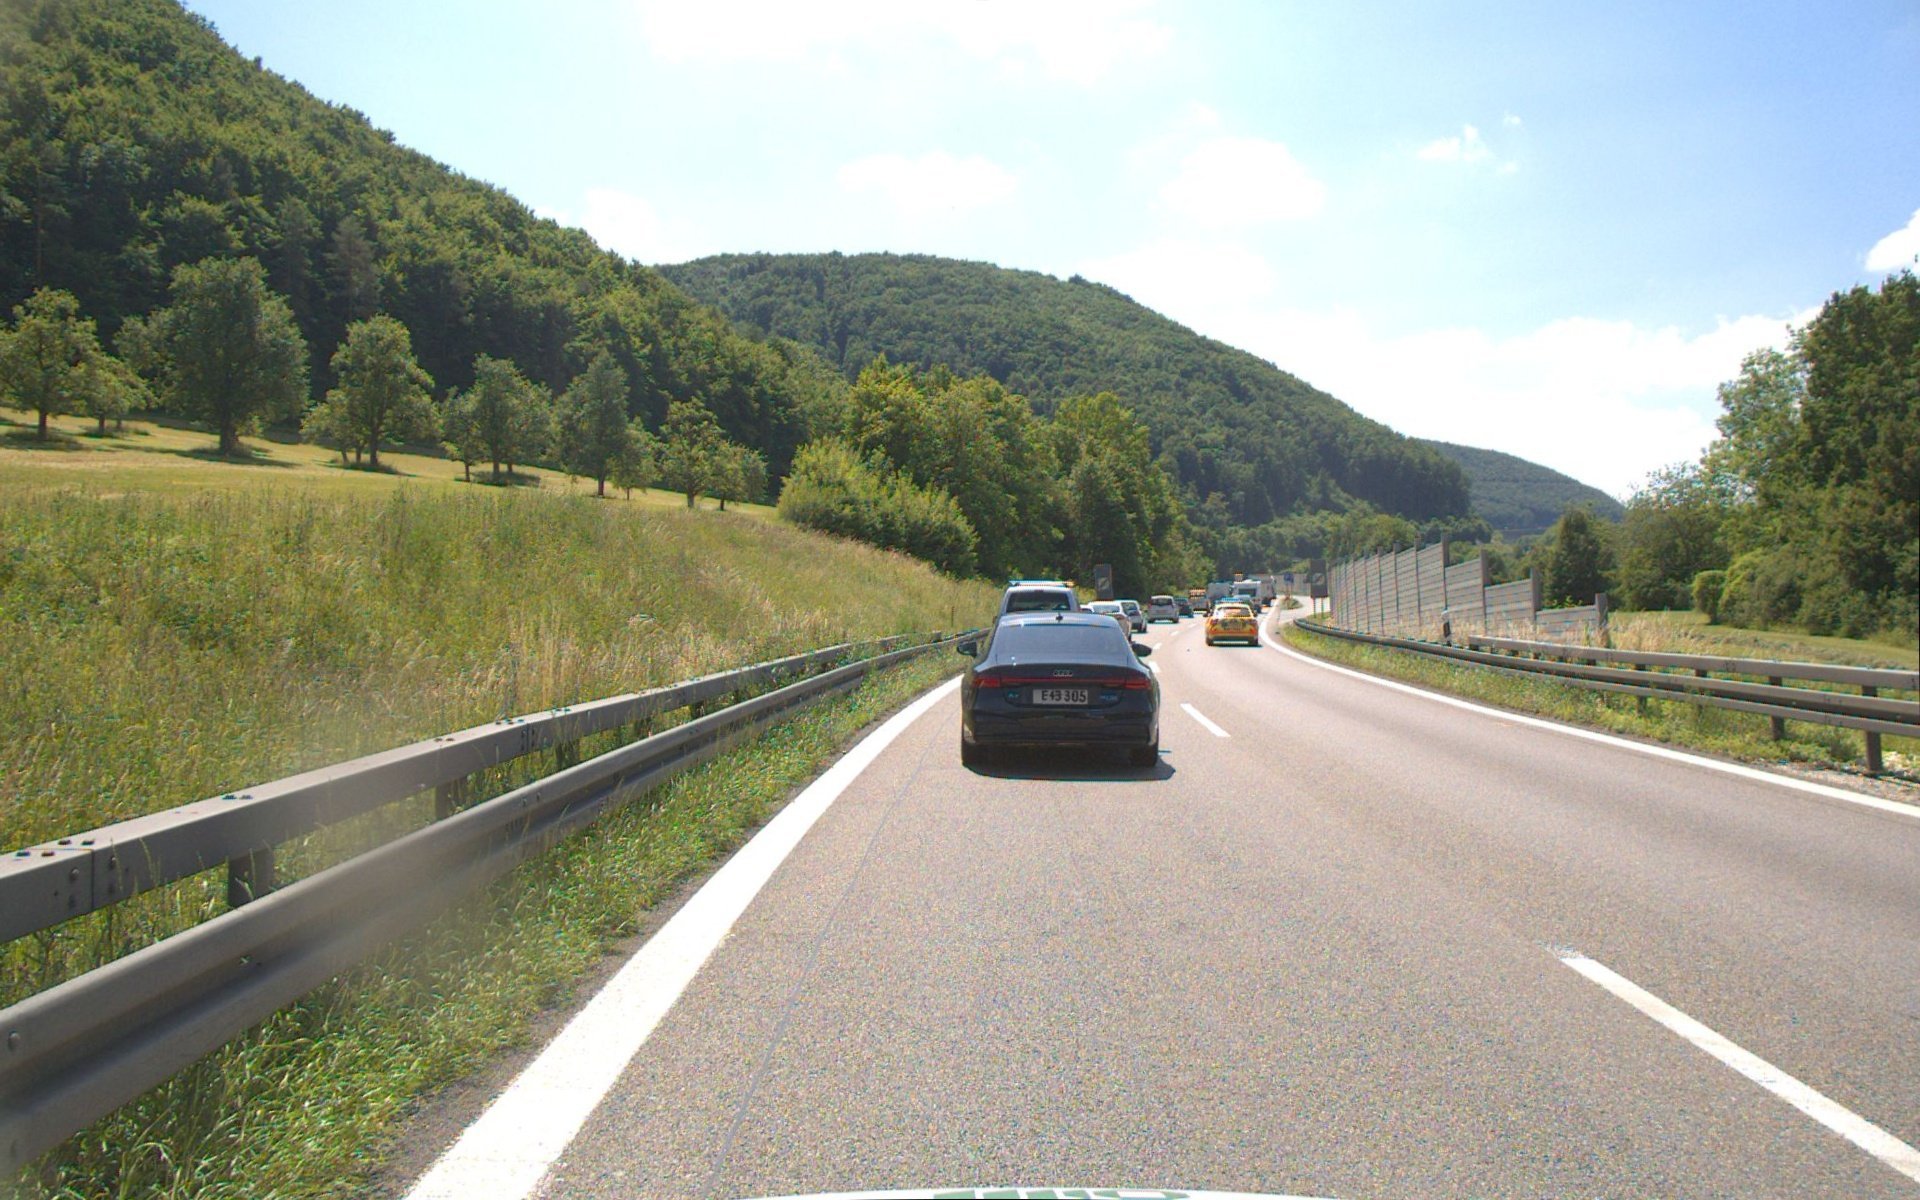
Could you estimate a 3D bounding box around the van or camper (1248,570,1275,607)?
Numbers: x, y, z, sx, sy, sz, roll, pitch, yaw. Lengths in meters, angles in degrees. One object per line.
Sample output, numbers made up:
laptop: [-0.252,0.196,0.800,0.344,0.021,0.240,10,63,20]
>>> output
van or camper: [33.318,-1.284,182.769,2.735,3.975,6.172,1,0,9]

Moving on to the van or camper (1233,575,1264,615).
van or camper: [24.338,-0.389,139.345,2.377,3.210,5.208,1,0,11]

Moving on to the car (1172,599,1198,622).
car: [16.503,0.779,120.965,1.489,1.580,3.517,2,0,14]

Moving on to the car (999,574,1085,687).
car: [1.614,0.539,31.657,1.489,2.002,3.516,2,0,5]

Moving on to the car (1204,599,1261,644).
car: [9.713,0.726,58.839,1.839,1.525,4.004,-1,0,11]

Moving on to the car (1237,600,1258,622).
car: [21.384,0.817,122.933,1.456,1.598,3.003,1,0,12]

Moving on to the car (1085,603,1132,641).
car: [5.476,0.775,60.791,1.488,1.317,3.517,1,0,9]

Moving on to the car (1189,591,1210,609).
car: [20.956,-0.004,144.808,1.489,1.580,3.517,2,0,14]

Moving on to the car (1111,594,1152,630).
car: [7.960,0.562,76.632,1.488,1.580,3.517,2,0,12]

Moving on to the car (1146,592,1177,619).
car: [12.255,0.333,100.423,1.489,1.580,3.517,2,0,13]

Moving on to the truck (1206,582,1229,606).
truck: [28.889,-0.647,185.592,2.020,2.651,5.618,2,0,13]

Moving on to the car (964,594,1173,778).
car: [1.056,0.736,16.094,1.774,1.541,3.516,1,0,4]

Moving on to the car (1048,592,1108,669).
car: [3.194,0.783,44.347,1.507,1.959,3.480,1,0,5]

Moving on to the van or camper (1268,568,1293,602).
van or camper: [38.684,-1.805,199.869,2.735,3.908,6.172,1,0,9]
